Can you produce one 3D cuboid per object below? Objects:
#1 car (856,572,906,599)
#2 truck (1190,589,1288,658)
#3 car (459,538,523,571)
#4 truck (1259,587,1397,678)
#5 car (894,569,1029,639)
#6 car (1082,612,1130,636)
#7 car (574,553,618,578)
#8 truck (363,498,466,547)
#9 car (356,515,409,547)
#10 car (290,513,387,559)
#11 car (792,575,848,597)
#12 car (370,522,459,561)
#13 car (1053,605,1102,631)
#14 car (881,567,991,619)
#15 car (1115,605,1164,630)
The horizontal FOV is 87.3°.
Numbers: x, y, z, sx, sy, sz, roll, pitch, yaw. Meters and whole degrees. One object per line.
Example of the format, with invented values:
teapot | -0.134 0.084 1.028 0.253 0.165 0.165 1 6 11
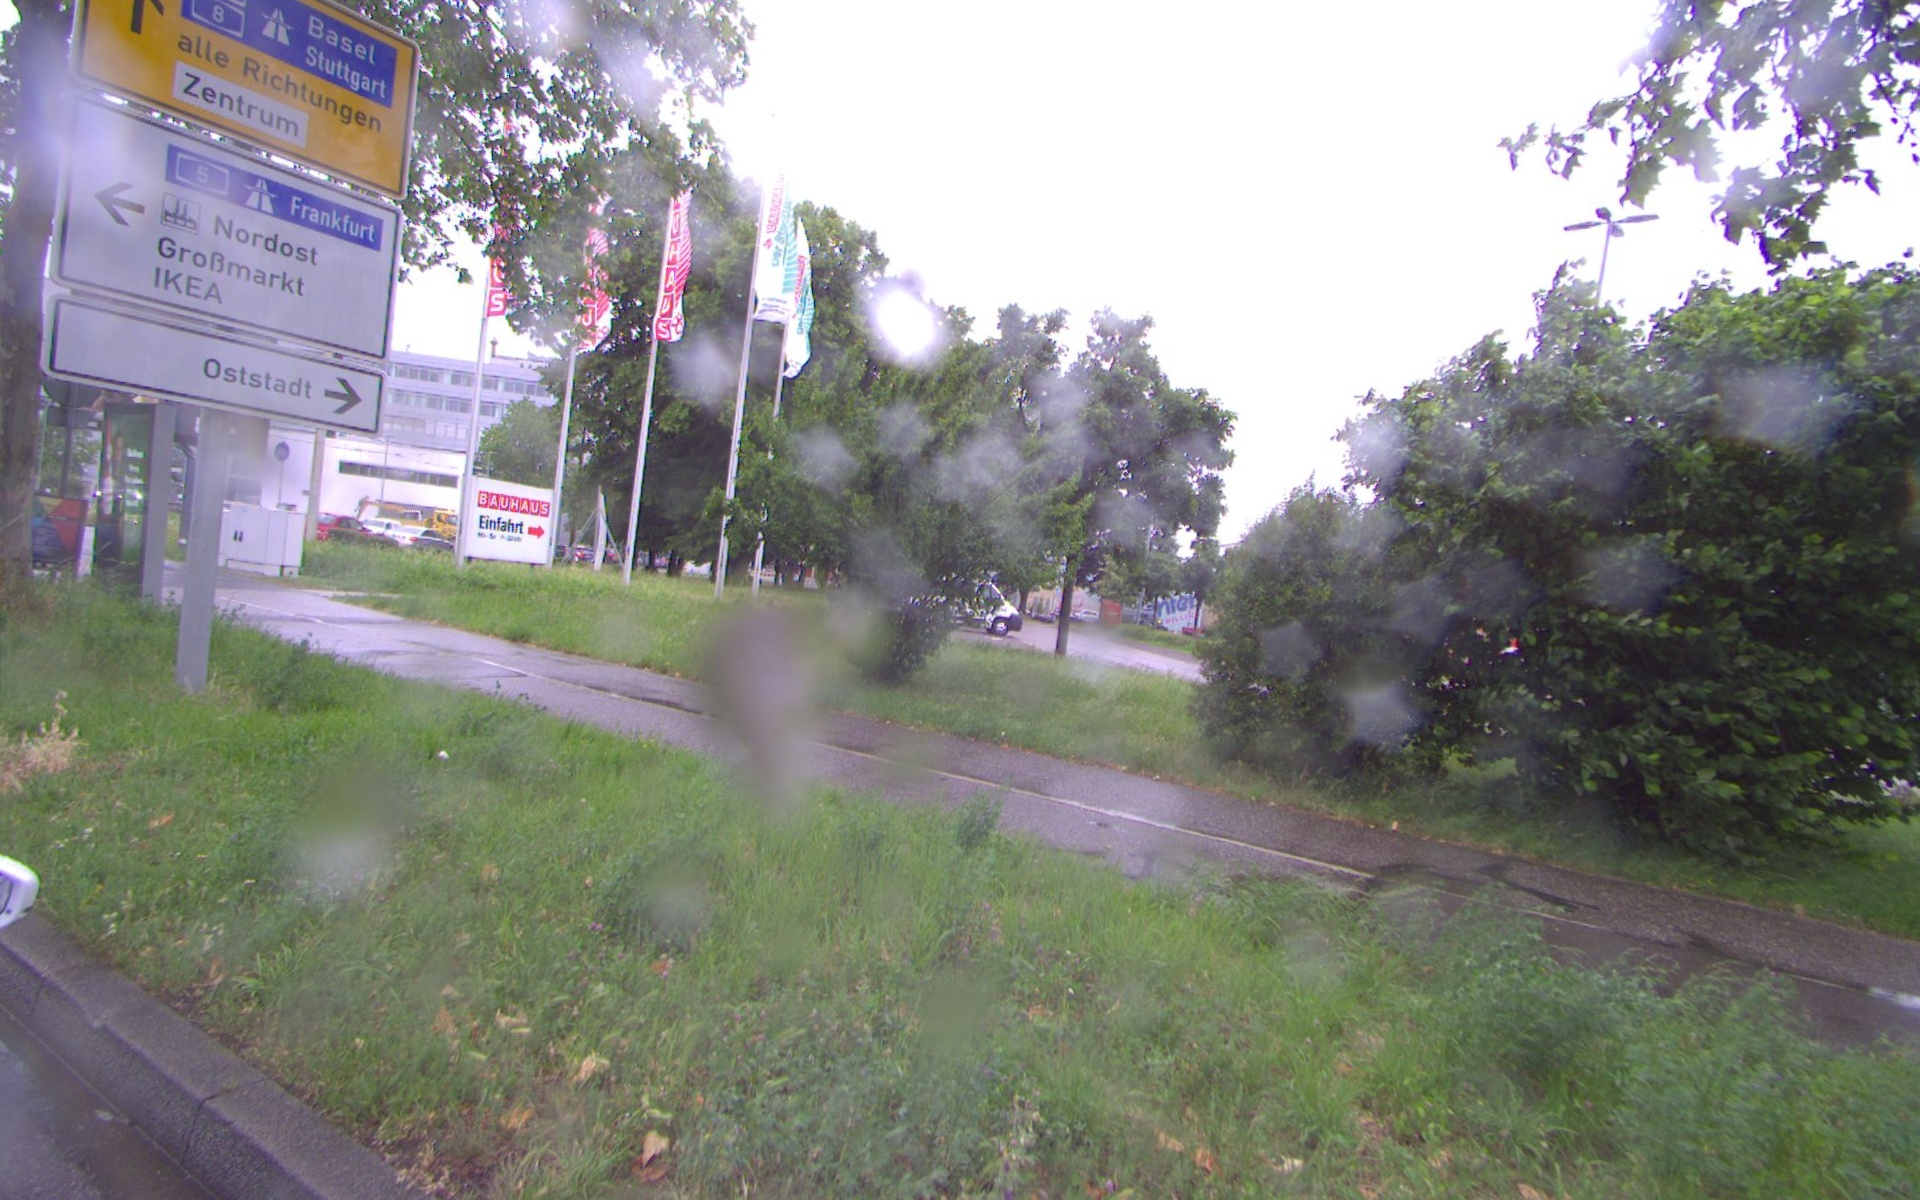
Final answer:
car | -7.860 -1.437 100.597 4.670 2.241 1.964 6 1 -2
truck | 16.517 1.336 60.344 2.507 3.511 9.397 8 0 -2
car | -29.025 -2.781 62.401 1.892 1.606 4.622 6 0 -3
truck | 16.701 1.337 46.408 2.508 3.513 8.008 8 0 -4
car | 0.022 0.157 40.923 5.015 2.232 2.188 7 1 -9
car | 15.549 2.555 107.306 4.612 2.038 2.001 7 0 3
car | -28.773 -2.702 79.608 1.892 1.606 4.623 6 0 -4
truck | -52.678 -7.430 97.339 7.747 3.552 3.325 7 1 -4
car | -45.323 -5.366 79.060 1.965 2.039 3.995 7 0 -6
car | -26.846 -2.731 43.614 1.647 1.508 3.818 7 -1 1
car | -15.420 -1.574 111.073 5.853 1.753 2.276 6 1 -3
car | -27.631 -2.933 51.148 1.892 1.509 4.828 6 0 -2
car | 11.829 1.849 101.775 4.612 2.038 2.001 7 0 3
car | -1.393 -0.406 57.648 5.955 2.232 2.190 7 1 -2
car | 18.675 1.836 104.735 4.613 2.039 1.999 7 1 1
